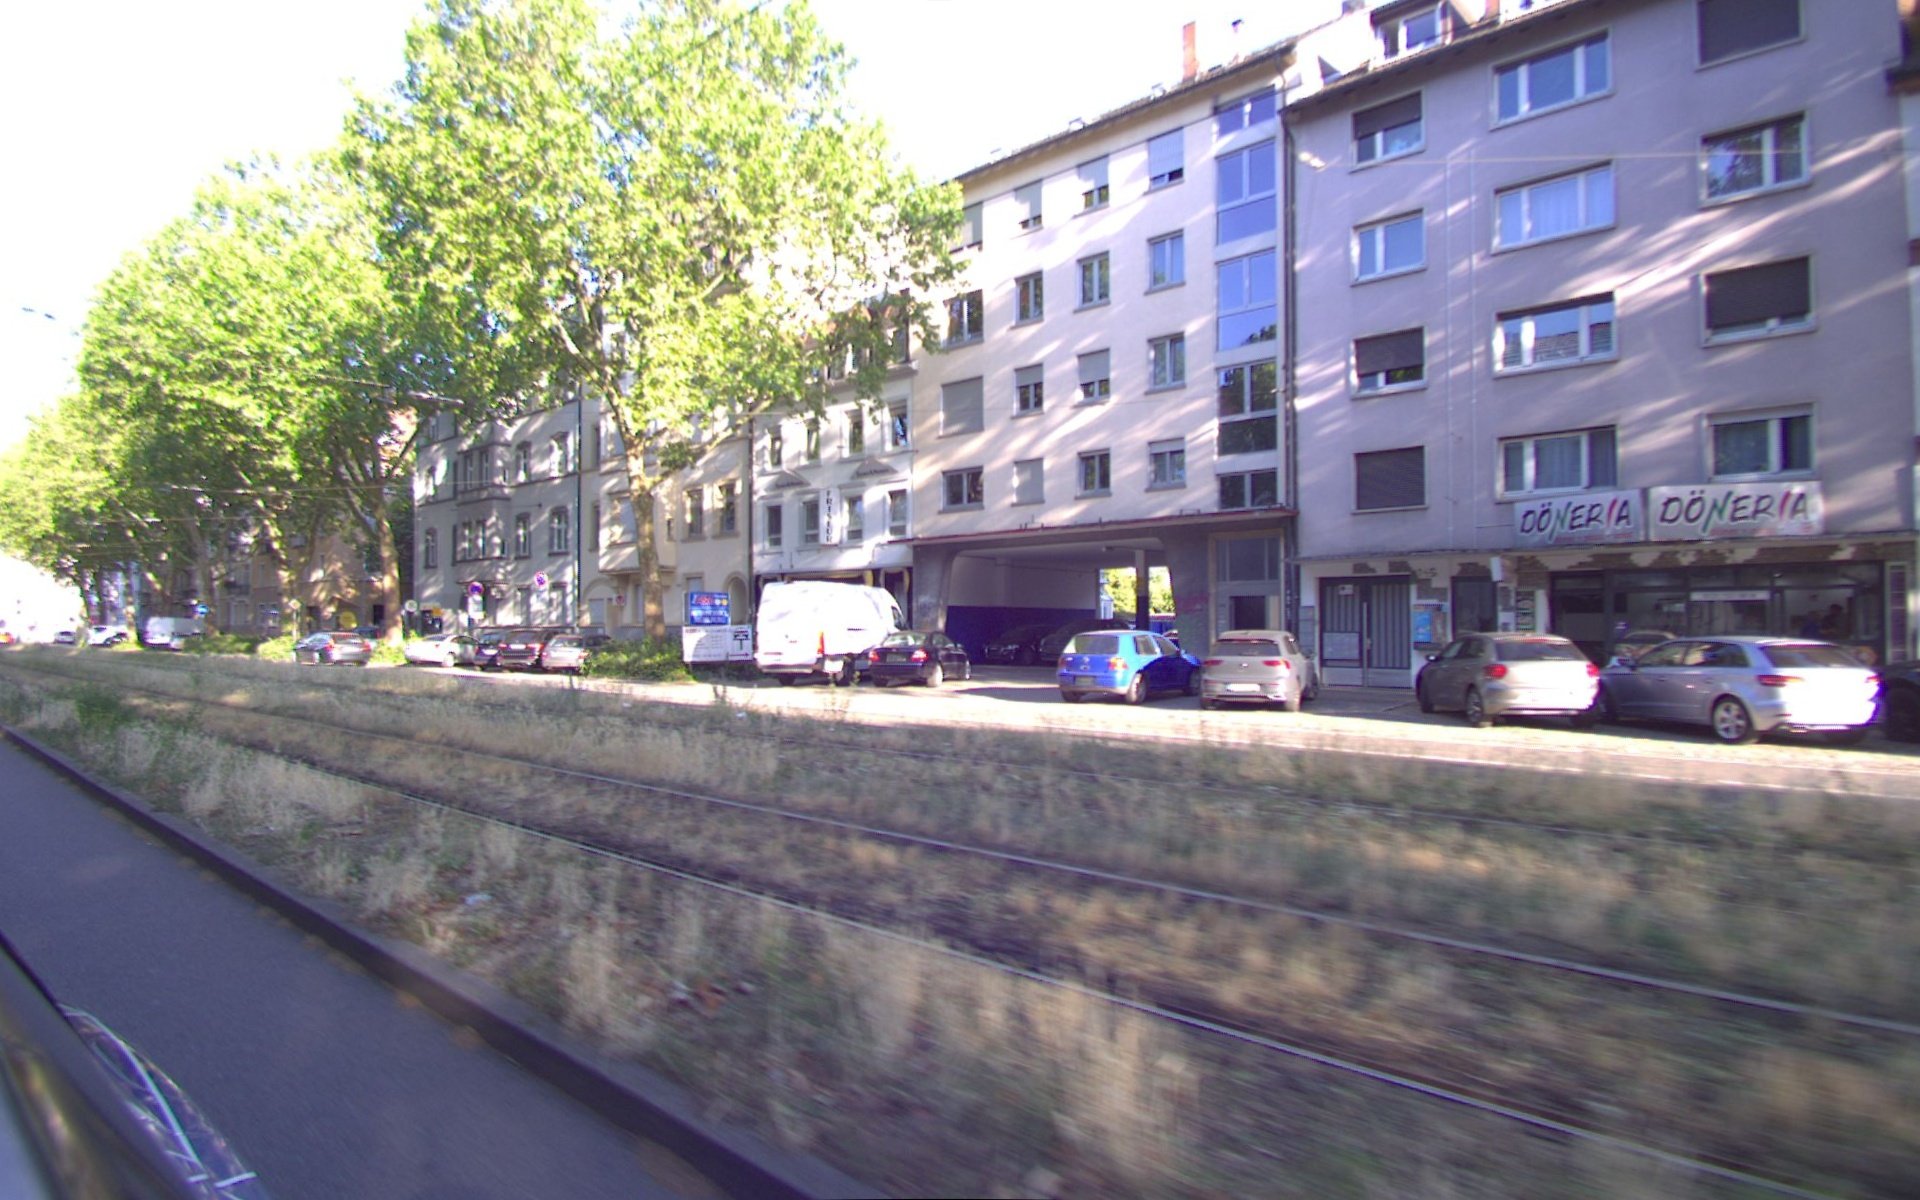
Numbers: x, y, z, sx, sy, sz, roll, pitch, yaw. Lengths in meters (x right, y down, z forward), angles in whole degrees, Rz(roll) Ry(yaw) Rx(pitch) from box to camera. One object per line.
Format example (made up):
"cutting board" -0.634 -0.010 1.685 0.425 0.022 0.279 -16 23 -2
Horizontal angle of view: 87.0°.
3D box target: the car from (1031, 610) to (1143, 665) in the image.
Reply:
"car" 4.290 1.235 33.837 1.904 1.733 3.946 -1 -2 40

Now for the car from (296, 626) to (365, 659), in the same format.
"car" -33.470 2.263 53.906 1.703 1.666 4.007 -1 -2 -9

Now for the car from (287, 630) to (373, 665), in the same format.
"car" -26.718 1.998 42.897 4.481 1.400 1.801 -2 -4 41

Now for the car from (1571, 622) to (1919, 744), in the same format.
"car" 11.026 1.066 14.518 1.884 1.396 4.003 -1 0 -4

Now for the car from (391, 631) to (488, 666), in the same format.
"car" -21.939 2.021 42.831 1.806 1.400 3.669 -1 -1 10

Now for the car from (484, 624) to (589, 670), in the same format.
"car" -15.769 1.776 37.923 1.912 1.605 4.154 0 -3 5

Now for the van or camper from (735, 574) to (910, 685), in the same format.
"van or camper" -3.536 0.796 27.514 2.163 2.666 5.927 -1 -2 21

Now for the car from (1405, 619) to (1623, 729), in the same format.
"car" 8.853 1.115 16.595 1.735 1.433 3.991 -1 0 7

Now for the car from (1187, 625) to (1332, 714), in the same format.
"car" 5.836 1.236 19.412 1.941 1.503 3.962 -1 -2 28

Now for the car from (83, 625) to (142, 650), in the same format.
"car" -76.683 3.365 91.643 1.971 2.029 4.001 -2 0 -1

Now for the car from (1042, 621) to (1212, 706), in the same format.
"car" 3.575 1.238 21.162 1.855 1.431 3.950 -1 1 37

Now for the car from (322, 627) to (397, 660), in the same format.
"car" -30.909 2.226 52.234 1.635 1.566 4.001 -1 -2 -2

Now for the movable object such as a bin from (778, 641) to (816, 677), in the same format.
"movable object such as a bin" -4.887 1.760 30.336 0.865 1.030 0.734 -1 -2 29

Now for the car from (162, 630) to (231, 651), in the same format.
"car" -55.629 2.931 73.793 1.710 1.256 3.992 -1 1 7

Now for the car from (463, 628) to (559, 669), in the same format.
"car" -17.921 1.956 40.591 1.803 1.545 3.993 0 -3 5

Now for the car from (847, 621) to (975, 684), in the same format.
"car" -1.186 1.330 26.362 1.985 1.502 3.974 -1 -2 19

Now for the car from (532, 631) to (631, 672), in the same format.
"car" -13.278 1.796 35.777 1.779 1.368 4.001 0 -2 4

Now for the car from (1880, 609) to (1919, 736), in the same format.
"car" 13.626 0.914 11.852 1.972 1.673 3.999 -1 -1 0

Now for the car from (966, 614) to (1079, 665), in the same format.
"car" 2.230 1.332 35.483 1.998 1.553 3.947 -1 1 39

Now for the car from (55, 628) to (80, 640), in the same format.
"car" -110.741 4.209 125.541 4.001 1.431 1.972 -1 1 43

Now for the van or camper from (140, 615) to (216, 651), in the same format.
"van or camper" -57.918 2.408 75.035 2.171 2.418 4.363 -1 1 1
